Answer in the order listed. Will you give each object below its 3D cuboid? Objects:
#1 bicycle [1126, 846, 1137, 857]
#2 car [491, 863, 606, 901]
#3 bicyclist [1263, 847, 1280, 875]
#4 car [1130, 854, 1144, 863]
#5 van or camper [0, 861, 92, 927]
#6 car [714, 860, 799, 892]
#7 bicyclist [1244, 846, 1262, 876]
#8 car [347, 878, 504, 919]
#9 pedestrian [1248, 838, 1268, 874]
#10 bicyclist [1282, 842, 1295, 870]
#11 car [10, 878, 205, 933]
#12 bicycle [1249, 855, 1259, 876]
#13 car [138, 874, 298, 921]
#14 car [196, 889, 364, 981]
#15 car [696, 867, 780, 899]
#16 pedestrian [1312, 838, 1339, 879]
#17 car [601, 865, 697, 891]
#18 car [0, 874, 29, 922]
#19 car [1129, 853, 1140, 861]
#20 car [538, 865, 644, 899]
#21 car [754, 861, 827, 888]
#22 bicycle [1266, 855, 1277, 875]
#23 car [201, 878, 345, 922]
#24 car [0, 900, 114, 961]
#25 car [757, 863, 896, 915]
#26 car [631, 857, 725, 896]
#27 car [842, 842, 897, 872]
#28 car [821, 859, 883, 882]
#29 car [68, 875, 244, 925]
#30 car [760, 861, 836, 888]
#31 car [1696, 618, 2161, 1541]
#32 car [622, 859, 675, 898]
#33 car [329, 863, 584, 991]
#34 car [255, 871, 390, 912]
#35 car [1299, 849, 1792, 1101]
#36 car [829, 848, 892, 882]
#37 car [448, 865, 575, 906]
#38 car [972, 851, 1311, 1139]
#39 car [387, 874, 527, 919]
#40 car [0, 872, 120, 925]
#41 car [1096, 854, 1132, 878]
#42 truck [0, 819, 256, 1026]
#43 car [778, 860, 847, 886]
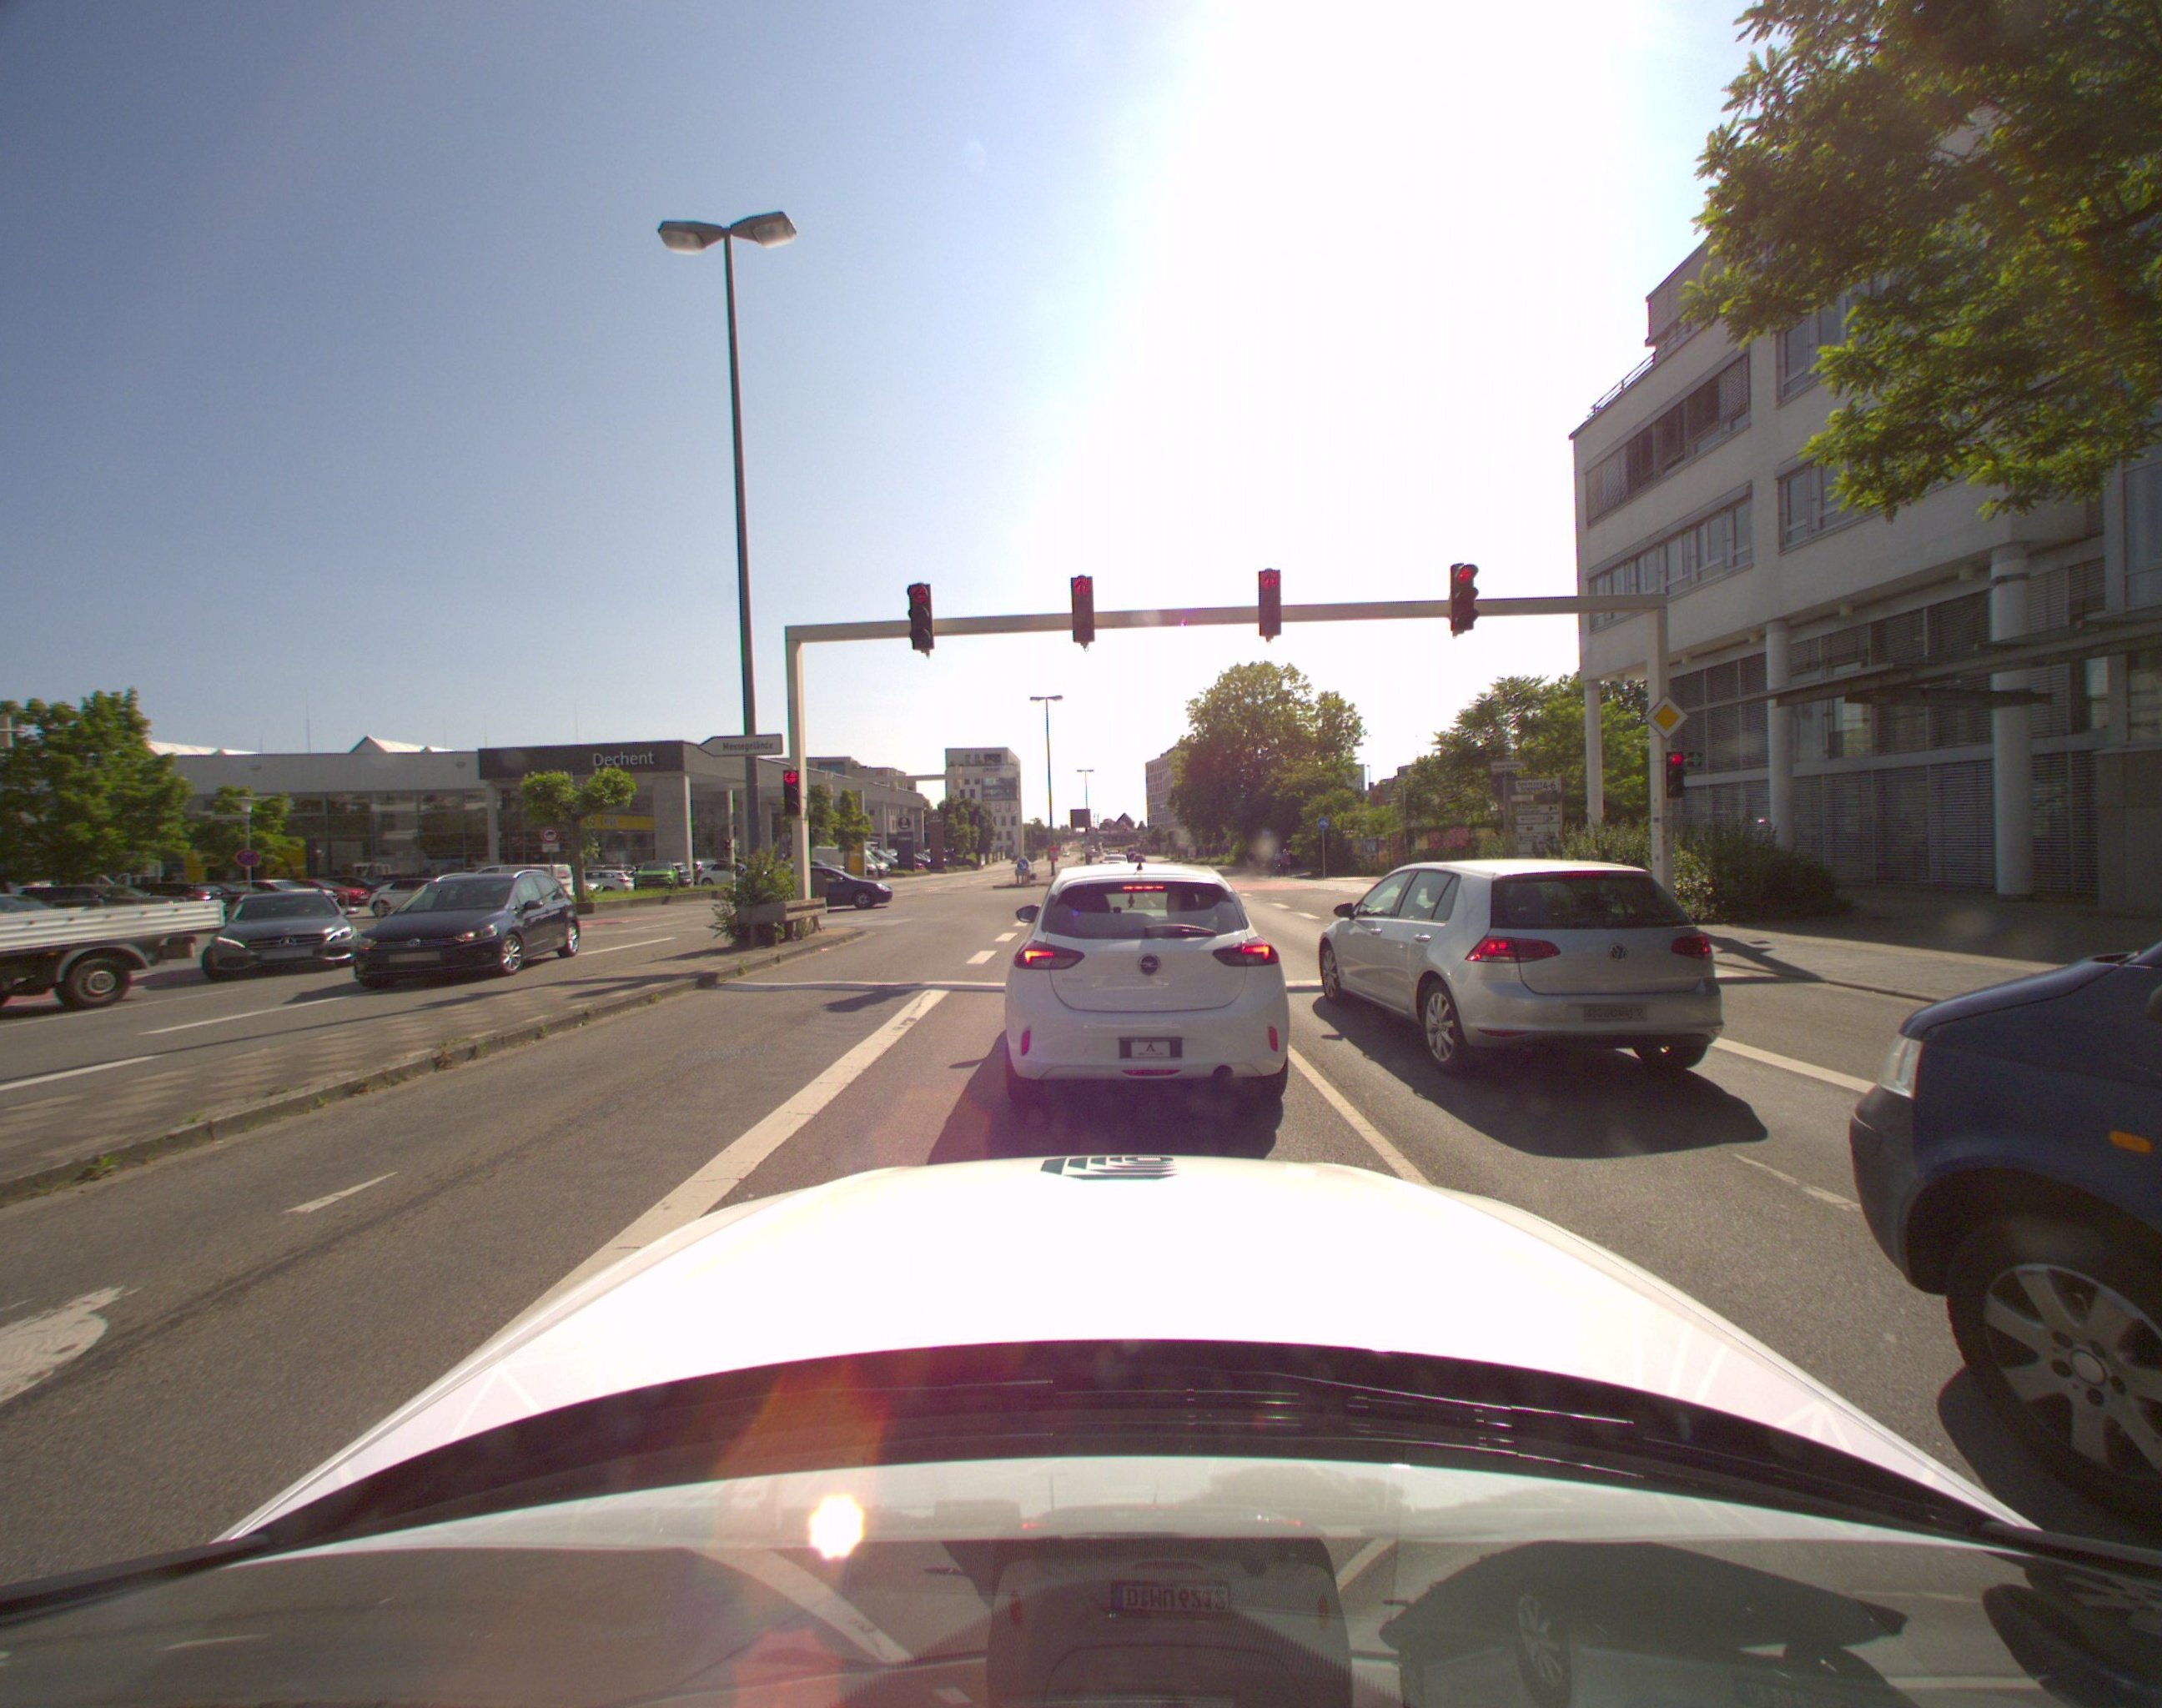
[{"bbox_3d":[9.680,-0.453,155.594,1.986,2.157,4.001,-2,0,1],"label":"bicycle"},{"bbox_3d":[-26.680,1.380,40.929,4.353,1.696,1.995,-2,0,-7],"label":"car"},{"bbox_3d":[11.203,0.403,47.829,0.687,1.643,0.775,-2,0,-7],"label":"bicyclist"},{"bbox_3d":[8.253,0.677,120.313,1.799,1.386,4.001,0,-1,2],"label":"car"},{"bbox_3d":[-41.904,1.574,31.354,4.711,2.400,1.995,-2,0,-8],"label":"van or camper"},{"bbox_3d":[-19.722,1.320,49.589,4.284,1.765,1.999,-2,0,-1],"label":"car"},{"bbox_3d":[10.458,0.414,49.430,0.876,1.772,0.864,-2,0,1],"label":"bicyclist"},{"bbox_3d":[-25.537,1.714,31.869,4.348,1.300,1.997,-2,0,-4],"label":"car"},{"bbox_3d":[11.460,0.136,52.736,1.023,2.238,1.039,-2,0,1],"label":"pedestrian"},{"bbox_3d":[12.348,0.135,48.454,0.650,1.637,0.660,0,-1,1],"label":"bicyclist"},{"bbox_3d":[-35.123,1.817,29.485,4.348,1.696,1.997,-2,0,-4],"label":"car"},{"bbox_3d":[10.476,0.690,49.407,0.371,1.216,1.154,0,0,2],"label":"bicycle"},{"bbox_3d":[-36.200,1.801,34.265,4.348,1.696,1.997,-2,0,-4],"label":"car"},{"bbox_3d":[-15.121,1.406,15.319,3.949,1.360,1.917,0,-1,41],"label":"car"},{"bbox_3d":[-19.711,1.640,46.932,3.981,1.599,1.996,-2,0,-6],"label":"car"},{"bbox_3d":[12.423,0.217,41.436,1.023,2.013,1.039,-2,0,1],"label":"pedestrian"},{"bbox_3d":[-24.705,1.373,46.689,4.352,1.268,1.995,-3,-2,-7],"label":"car"},{"bbox_3d":[-40.633,1.634,28.411,4.371,1.696,1.987,-2,0,-20],"label":"car"},{"bbox_3d":[9.239,0.536,140.189,1.799,1.386,4.001,0,-1,2],"label":"car"},{"bbox_3d":[-26.158,1.495,43.594,4.352,1.591,1.996,-2,0,-7],"label":"car"},{"bbox_3d":[-20.259,1.418,56.962,4.344,1.696,1.999,-2,0,-1],"label":"car"},{"bbox_3d":[11.192,0.658,47.818,0.372,1.147,1.034,0,-1,0],"label":"bicycle"},{"bbox_3d":[-36.636,2.060,37.024,4.348,1.696,1.997,-2,0,-4],"label":"car"},{"bbox_3d":[-28.887,2.068,21.717,3.893,1.438,1.776,-2,0,-3],"label":"car"},{"bbox_3d":[-8.087,1.074,26.252,3.988,1.442,1.993,-2,0,-11],"label":"car"},{"bbox_3d":[-21.074,1.157,42.738,3.859,1.837,1.999,-2,0,-1],"label":"car"},{"bbox_3d":[-19.100,0.268,73.697,4.334,2.601,2.004,-2,0,6],"label":"car"},{"bbox_3d":[-18.507,1.336,65.911,4.334,1.696,2.004,-2,0,6],"label":"car"},{"bbox_3d":[-36.236,1.770,32.000,4.348,1.696,1.997,-2,0,-4],"label":"car"},{"bbox_3d":[-18.984,1.352,54.718,4.343,1.696,1.999,-2,0,-1],"label":"car"},{"bbox_3d":[3.223,0.443,0.538,1.986,1.948,4.892,-2,-1,2],"label":"car"},{"bbox_3d":[-21.254,1.217,39.966,1.915,1.733,3.258,-2,-1,-35],"label":"car"},{"bbox_3d":[-9.561,0.983,12.932,1.891,1.617,4.109,-2,0,-18],"label":"car"},{"bbox_3d":[-36.620,1.777,39.423,4.352,1.696,1.995,-2,0,-7],"label":"car"},{"bbox_3d":[3.325,0.740,6.881,1.802,1.429,3.998,-2,-1,-1],"label":"car"},{"bbox_3d":[-18.474,0.937,68.363,4.469,2.684,2.134,-2,0,10],"label":"car"},{"bbox_3d":[-26.593,1.443,38.165,4.353,1.696,1.995,-2,0,-7],"label":"car"},{"bbox_3d":[0.379,0.761,6.382,1.773,1.494,4.001,-2,0,1],"label":"car"},{"bbox_3d":[-26.741,1.795,35.027,4.348,1.696,1.997,-2,0,-4],"label":"car"},{"bbox_3d":[-43.163,1.824,33.707,3.984,2.013,1.995,-2,0,-8],"label":"car"},{"bbox_3d":[1.940,0.687,47.188,1.985,1.331,4.002,0,-1,2],"label":"car"},{"bbox_3d":[-14.540,0.909,9.744,2.346,2.545,6.445,-4,0,4],"label":"truck"},{"bbox_3d":[-19.789,1.366,60.164,4.344,1.696,1.999,-2,0,-1],"label":"car"}]
